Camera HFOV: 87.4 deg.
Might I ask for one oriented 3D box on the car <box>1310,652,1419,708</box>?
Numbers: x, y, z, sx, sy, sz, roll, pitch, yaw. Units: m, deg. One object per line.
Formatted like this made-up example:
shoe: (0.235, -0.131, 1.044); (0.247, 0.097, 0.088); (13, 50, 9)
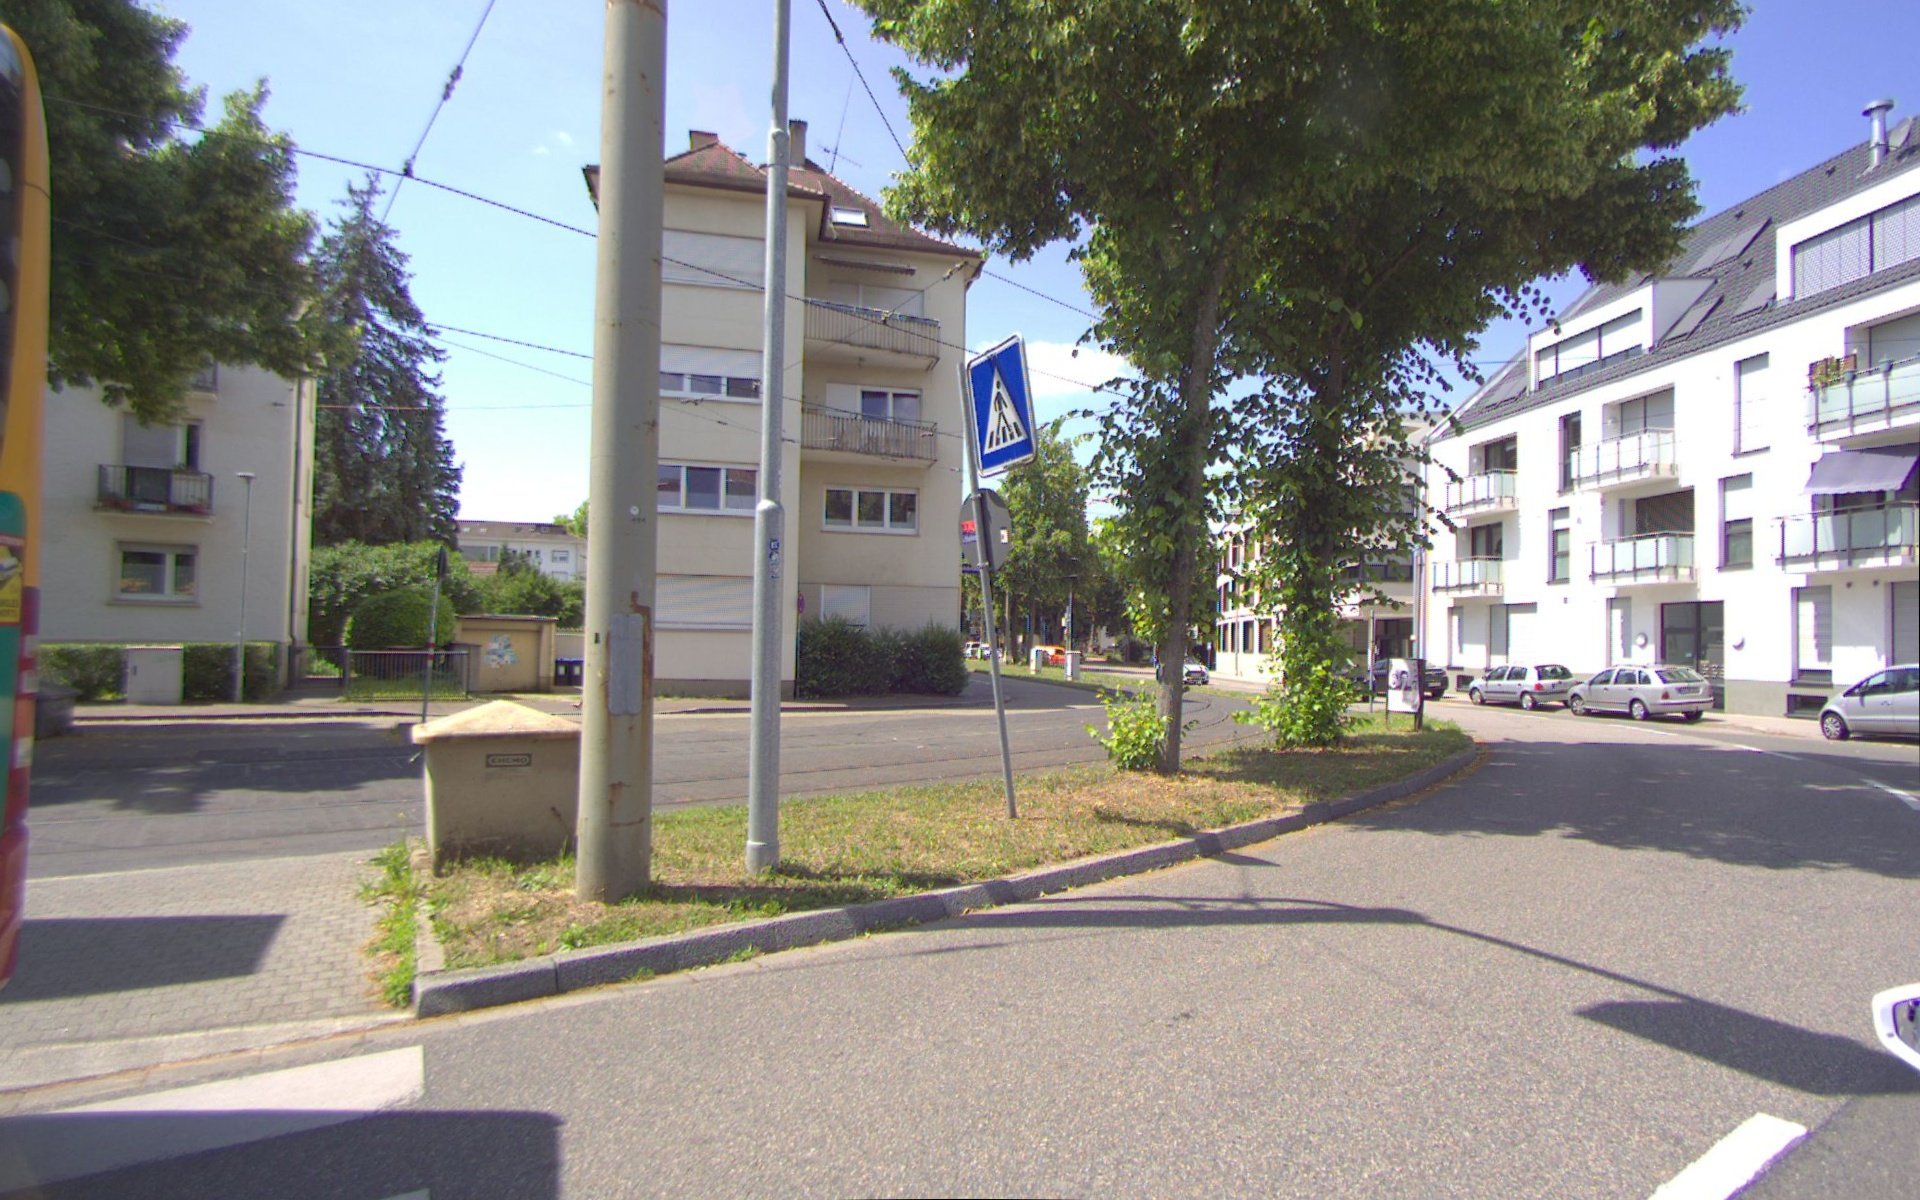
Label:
car: (12.382, 2.421, 31.043); (1.856, 1.572, 4.399); (1, -3, 4)

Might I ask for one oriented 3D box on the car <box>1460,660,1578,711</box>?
car: (17.805, 2.692, 32.156); (1.396, 1.375, 3.499); (-2, -1, -8)

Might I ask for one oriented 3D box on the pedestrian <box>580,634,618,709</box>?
pedestrian: (-8.303, 1.647, 23.101); (0.601, 1.674, 0.569); (4, -1, -36)

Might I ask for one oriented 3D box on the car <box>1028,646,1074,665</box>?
car: (8.513, 5.189, 94.197); (3.985, 1.547, 1.653); (3, -1, 15)

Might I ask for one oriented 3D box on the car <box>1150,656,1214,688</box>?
car: (10.922, 3.547, 49.711); (1.754, 1.260, 3.995); (4, -1, -8)

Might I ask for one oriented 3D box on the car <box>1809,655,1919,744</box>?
car: (18.938, 1.988, 19.676); (1.553, 1.607, 3.619); (3, -1, 1)

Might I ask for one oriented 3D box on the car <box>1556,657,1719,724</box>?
car: (18.326, 2.393, 27.396); (1.629, 1.485, 3.908); (-3, -1, -2)

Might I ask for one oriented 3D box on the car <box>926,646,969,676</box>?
car: (-0.689, 3.183, 53.007); (1.558, 1.305, 3.845); (4, -1, -11)
